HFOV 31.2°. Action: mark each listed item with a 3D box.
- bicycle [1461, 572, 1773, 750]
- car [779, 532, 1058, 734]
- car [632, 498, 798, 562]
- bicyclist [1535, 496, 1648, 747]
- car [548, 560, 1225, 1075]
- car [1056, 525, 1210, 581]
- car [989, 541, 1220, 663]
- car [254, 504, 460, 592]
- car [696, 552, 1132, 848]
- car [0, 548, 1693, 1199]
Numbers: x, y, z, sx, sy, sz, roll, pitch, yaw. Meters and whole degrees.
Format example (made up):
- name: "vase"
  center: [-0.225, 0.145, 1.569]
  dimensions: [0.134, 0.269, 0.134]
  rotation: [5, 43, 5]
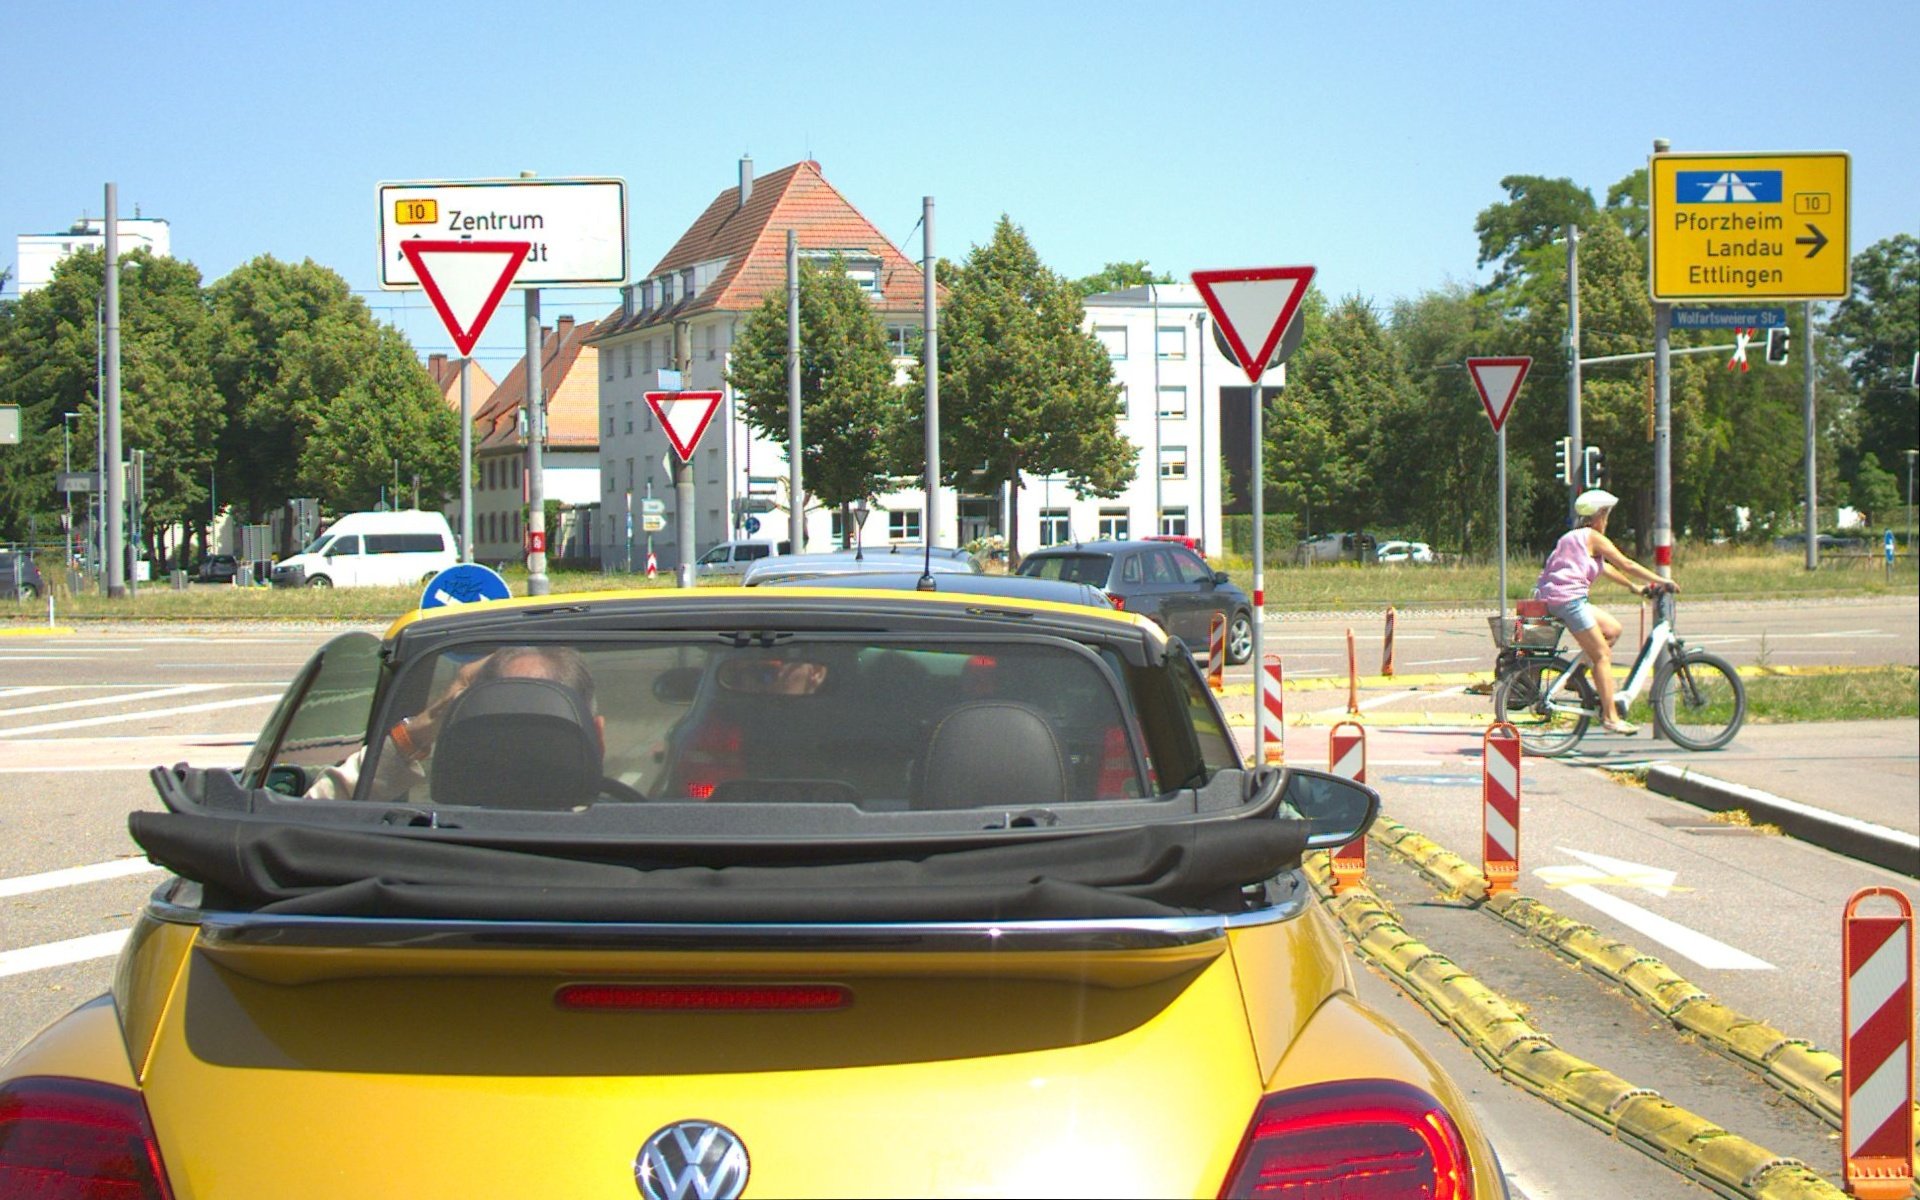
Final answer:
- name: "bicycle"
  center: [4.653, 0.427, 24.432]
  dimensions: [2.092, 1.217, 0.634]
  rotation: [-1, 1, 2]
- name: "car"
  center: [-0.336, 0.202, 27.975]
  dimensions: [2.065, 1.476, 4.543]
  rotation: [-1, 1, -1]
- name: "car"
  center: [-8.143, -2.321, 114.048]
  dimensions: [5.320, 2.063, 1.990]
  rotation: [1, 1, 32]
- name: "bicyclist"
  center: [4.487, 0.145, 24.439]
  dimensions: [0.670, 1.746, 0.592]
  rotation: [-1, 2, 1]
- name: "car"
  center: [-0.225, 0.577, 11.631]
  dimensions: [1.851, 1.361, 4.258]
  rotation: [-1, 1, -1]
- name: "car"
  center: [5.261, -1.428, 104.327]
  dimensions: [4.336, 1.648, 1.899]
  rotation: [1, 1, 17]
- name: "car"
  center: [1.622, 0.010, 37.667]
  dimensions: [1.436, 1.254, 3.213]
  rotation: [1, 1, 24]
- name: "car"
  center: [-16.915, -1.442, 96.509]
  dimensions: [5.310, 2.389, 1.994]
  rotation: [0, 1, -32]
- name: "car"
  center: [-0.202, 0.455, 18.516]
  dimensions: [2.065, 1.377, 4.258]
  rotation: [1, 1, 1]
- name: "car"
  center: [-0.280, 0.679, 5.113]
  dimensions: [1.765, 1.476, 4.258]
  rotation: [1, 1, -1]
